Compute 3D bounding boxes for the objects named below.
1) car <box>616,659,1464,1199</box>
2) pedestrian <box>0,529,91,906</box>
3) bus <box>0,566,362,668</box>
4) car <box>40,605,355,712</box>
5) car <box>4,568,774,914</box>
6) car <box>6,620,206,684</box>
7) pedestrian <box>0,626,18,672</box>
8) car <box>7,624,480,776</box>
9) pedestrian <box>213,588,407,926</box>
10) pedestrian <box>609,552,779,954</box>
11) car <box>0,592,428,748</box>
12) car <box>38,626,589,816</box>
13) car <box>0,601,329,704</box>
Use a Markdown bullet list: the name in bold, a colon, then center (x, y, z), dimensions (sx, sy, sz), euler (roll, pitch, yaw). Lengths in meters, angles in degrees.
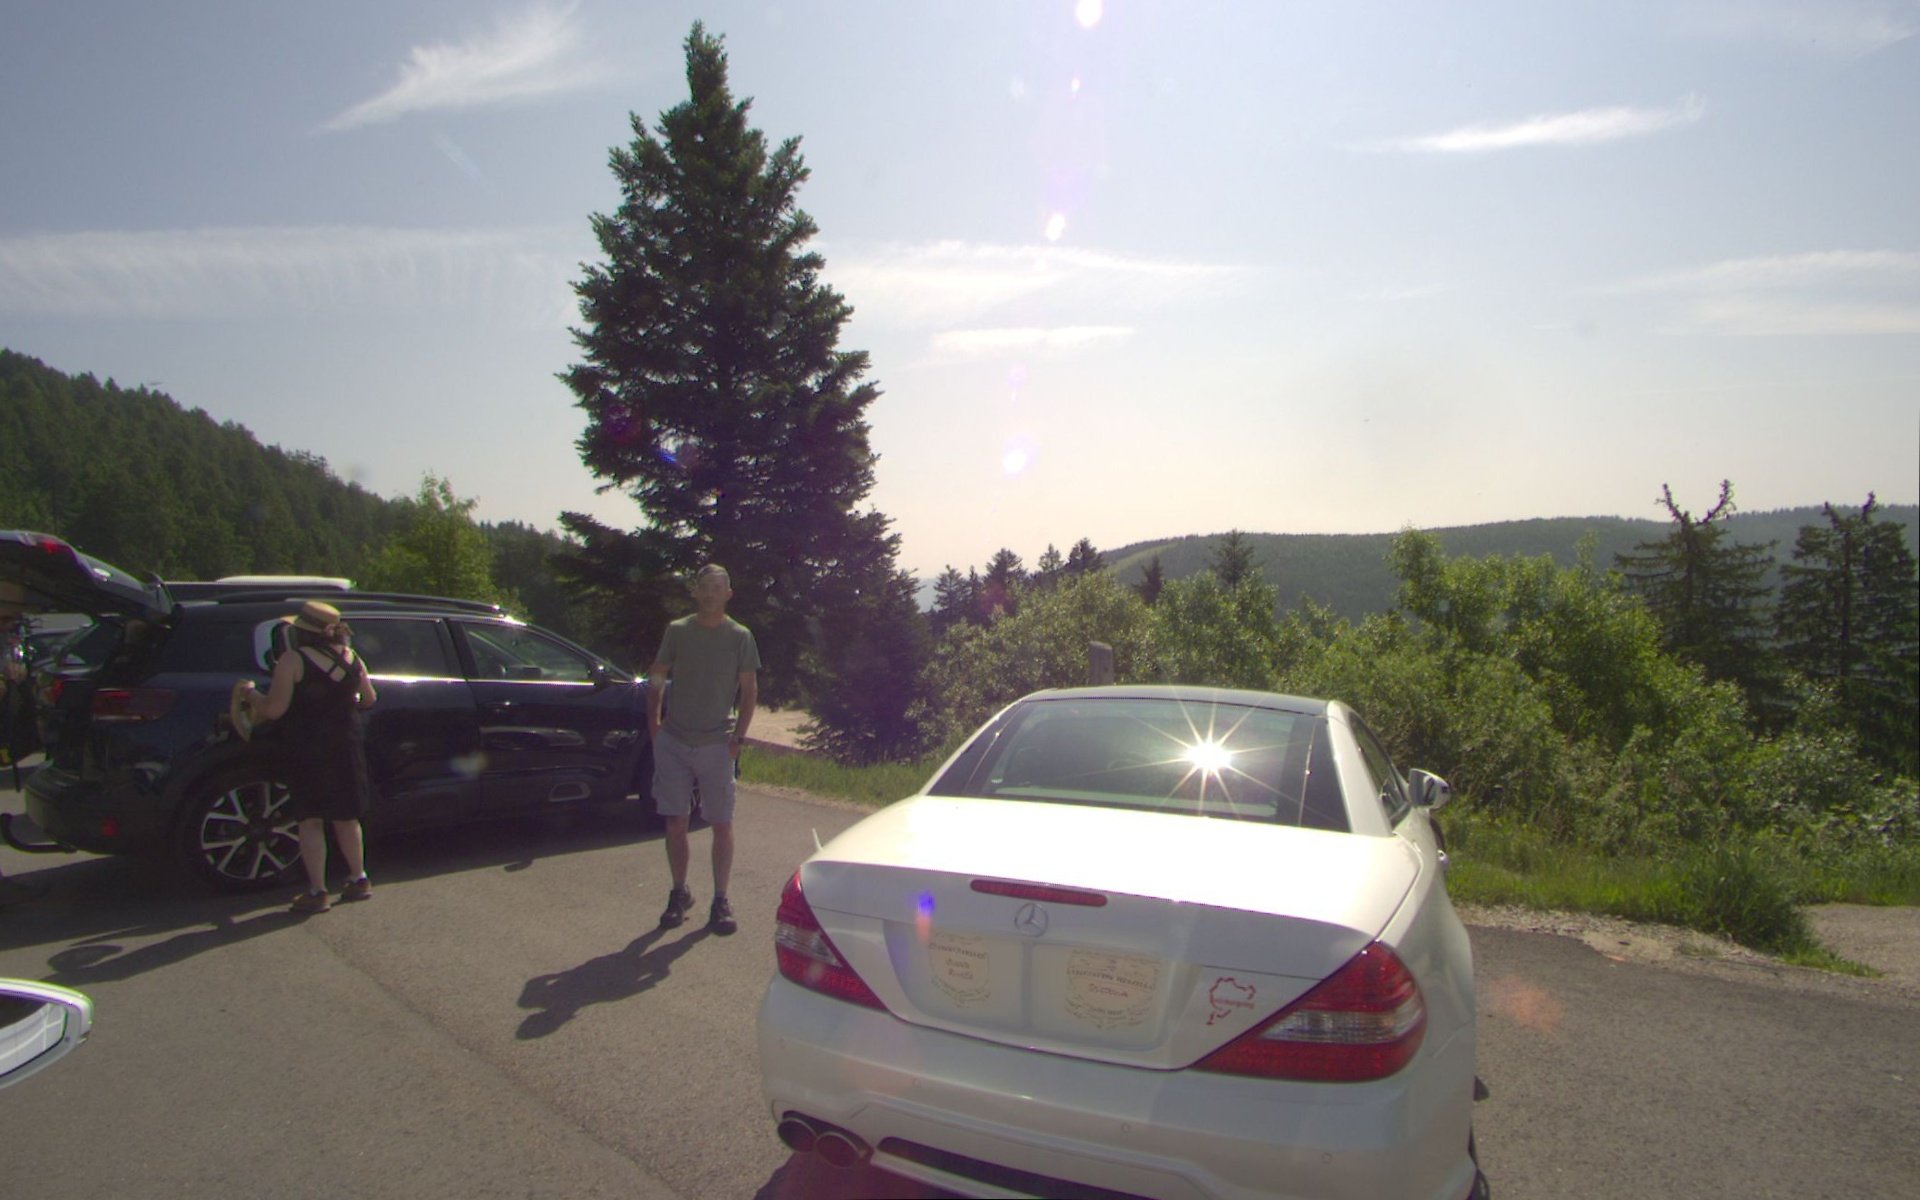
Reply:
- **car**: center (0.889, 0.939, 3.967), dimensions (1.726, 1.312, 4.402), euler (1, -2, 24)
- **pedestrian**: center (-5.231, 0.582, 5.248), dimensions (0.724, 1.896, 0.757), euler (2, 1, -13)
- **bus**: center (-31.140, 0.549, 39.321), dimensions (12.958, 3.579, 3.025), euler (-1, 0, -33)
- **car**: center (-13.243, 0.926, 17.564), dimensions (4.214, 1.574, 1.821), euler (-2, 0, -43)
- **car**: center (-3.616, 0.808, 7.045), dimensions (1.849, 1.646, 4.325), euler (-2, -4, 41)
- **car**: center (-22.817, 1.342, 26.867), dimensions (3.959, 1.468, 1.843), euler (-2, 0, -43)
- **pedestrian**: center (-33.747, 1.721, 35.205), dimensions (0.763, 1.606, 0.767), euler (-2, 1, -36)
- **car**: center (-7.849, 0.997, 11.303), dimensions (1.683, 1.394, 4.064), euler (-1, -2, 40)
- **pedestrian**: center (-3.424, 0.776, 5.301), dimensions (0.529, 1.633, 0.712), euler (-1, -2, 34)
- **pedestrian**: center (-1.286, 0.705, 4.968), dimensions (0.734, 1.823, 0.736), euler (0, -1, -9)
- **car**: center (-9.956, 0.790, 13.162), dimensions (4.911, 1.718, 1.928), euler (-1, 0, -41)
- **car**: center (-5.819, 0.969, 9.488), dimensions (1.681, 1.394, 4.068), euler (-1, -2, 37)
- **car**: center (-15.382, 0.919, 19.434), dimensions (4.998, 1.673, 2.028), euler (-1, 0, -43)
